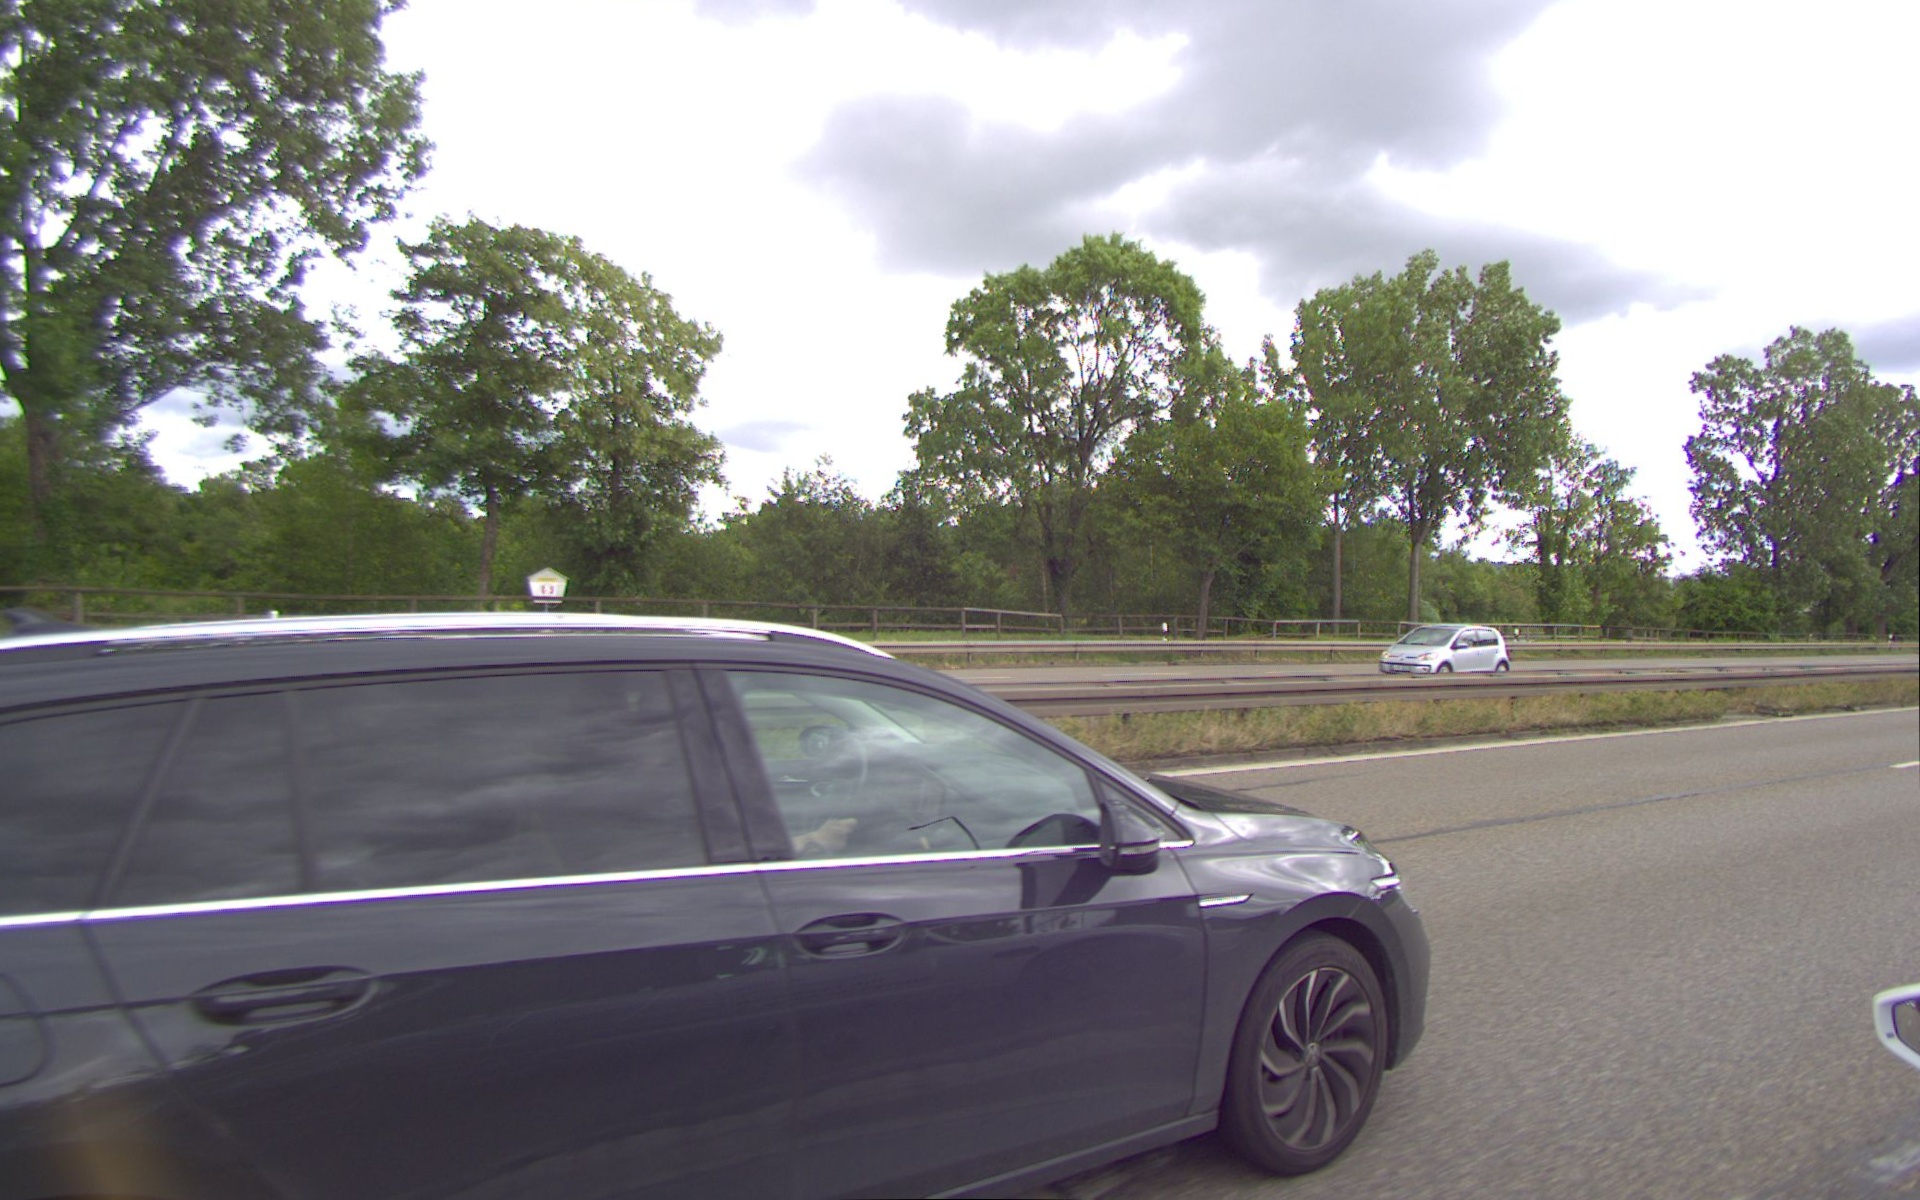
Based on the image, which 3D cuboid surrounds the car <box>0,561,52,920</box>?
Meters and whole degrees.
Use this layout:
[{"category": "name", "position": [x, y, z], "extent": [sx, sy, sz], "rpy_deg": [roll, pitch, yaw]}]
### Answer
[{"category": "car", "position": [-6.223, 0.637, 3.710], "extent": [3.954, 1.708, 1.689], "rpy_deg": [1, -2, -31]}]

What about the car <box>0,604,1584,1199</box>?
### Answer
[{"category": "car", "position": [-0.554, 0.791, 2.796], "extent": [4.843, 1.442, 1.836], "rpy_deg": [1, 1, -31]}]

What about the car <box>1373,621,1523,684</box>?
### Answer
[{"category": "car", "position": [12.121, 1.255, 24.906], "extent": [3.690, 1.404, 1.606], "rpy_deg": [1, 1, -32]}]
